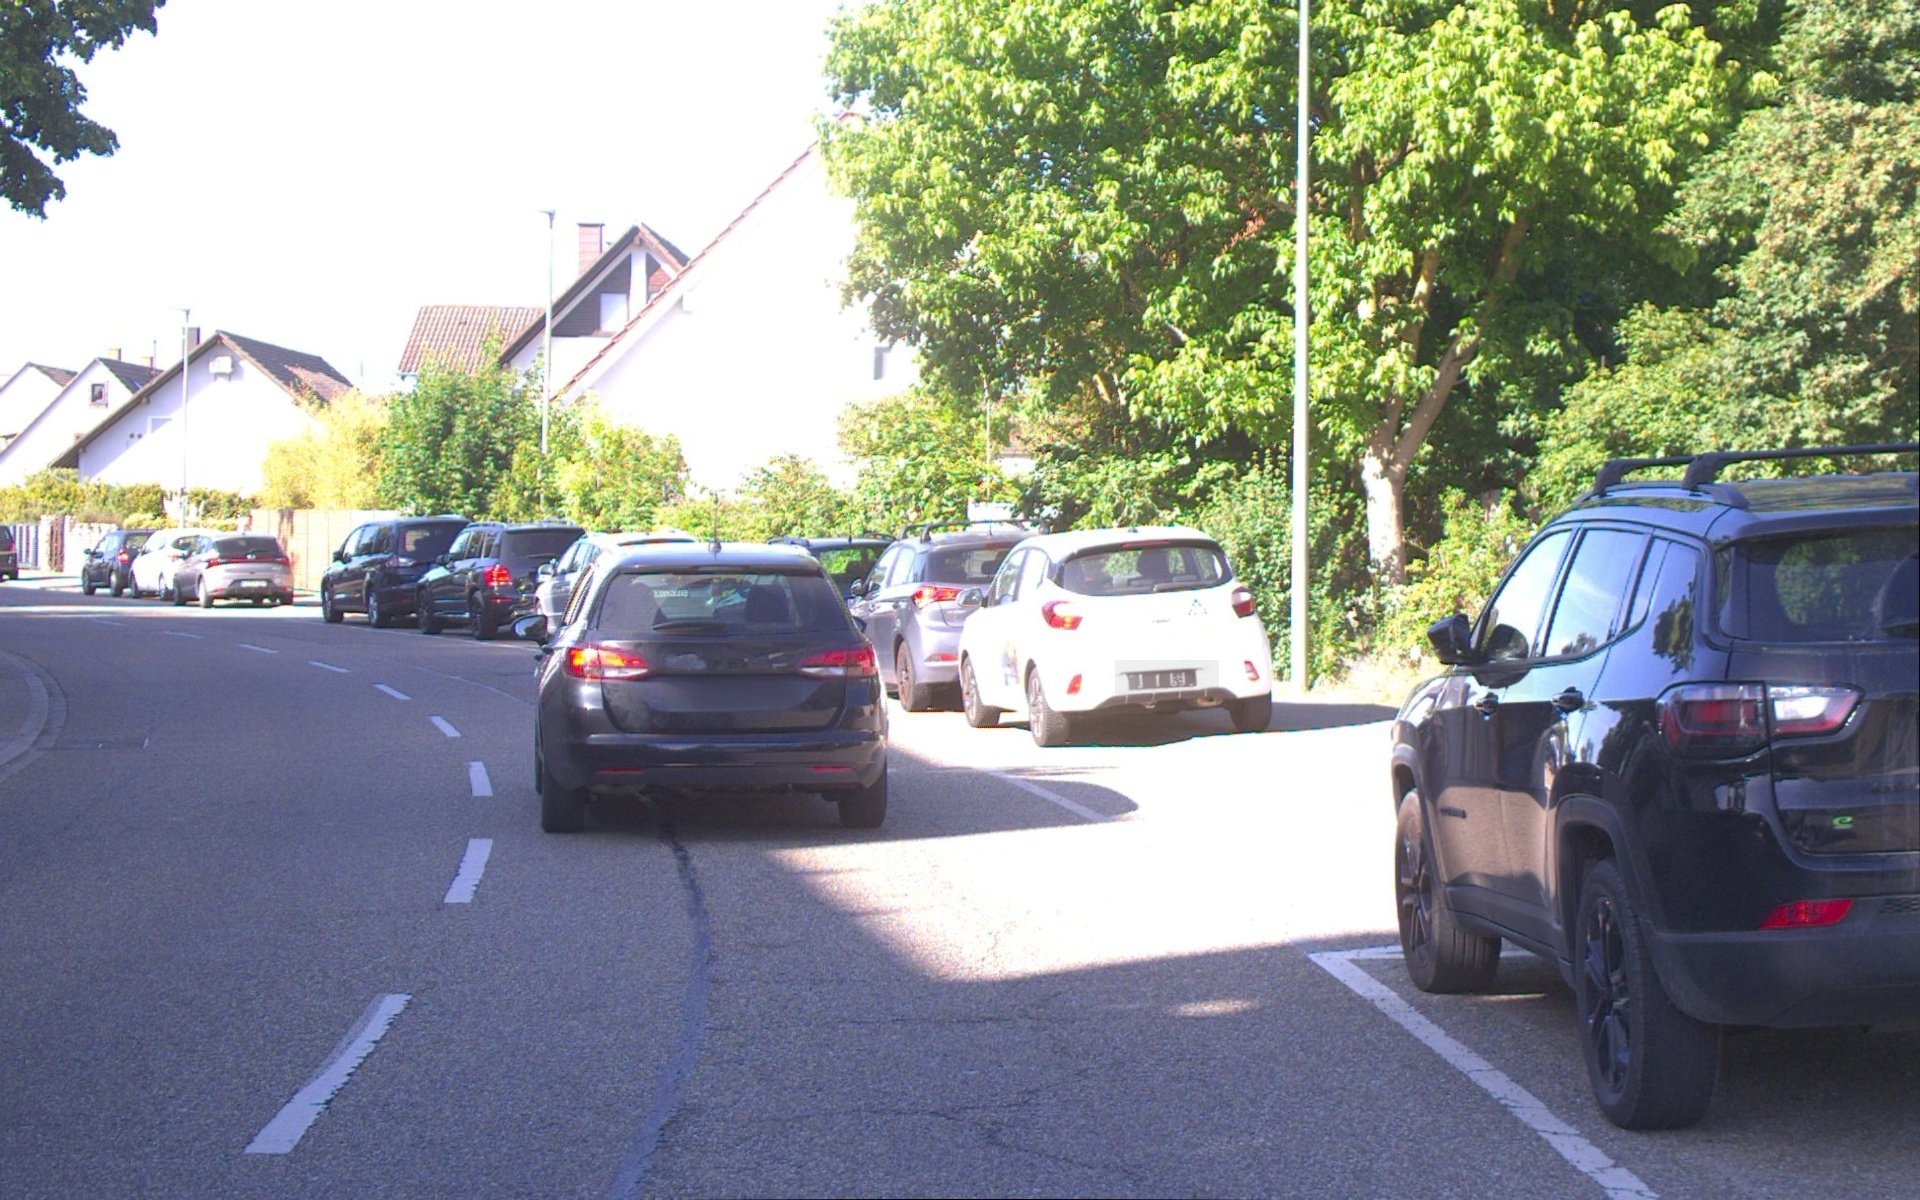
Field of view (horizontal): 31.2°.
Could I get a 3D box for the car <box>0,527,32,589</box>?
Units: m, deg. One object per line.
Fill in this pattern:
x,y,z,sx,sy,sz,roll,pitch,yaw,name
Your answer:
-27.751,-1.201,97.645,2.005,1.718,4.295,0,0,-24,car

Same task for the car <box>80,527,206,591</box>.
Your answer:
-18.560,-0.922,77.964,1.916,1.402,4.295,0,0,-25,car

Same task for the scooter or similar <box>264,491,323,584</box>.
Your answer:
-14.977,-1.382,77.230,0.685,2.007,2.962,1,-1,-23,scooter or similar

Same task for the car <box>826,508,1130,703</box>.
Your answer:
0.073,0.033,30.469,1.911,1.595,4.295,1,0,-10,car

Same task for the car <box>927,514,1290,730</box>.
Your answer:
1.014,0.138,25.880,1.760,1.475,4.295,1,0,-11,car

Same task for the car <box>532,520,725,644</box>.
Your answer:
-4.372,-0.244,44.872,1.819,1.529,4.260,1,0,-15,car

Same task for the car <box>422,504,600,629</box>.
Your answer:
-6.554,-0.482,49.849,2.005,1.718,4.295,1,0,-15,car

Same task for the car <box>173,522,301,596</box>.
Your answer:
-14.275,-0.799,67.687,1.915,1.402,4.295,0,0,-19,car

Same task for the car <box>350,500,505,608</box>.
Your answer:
-8.619,-0.730,55.370,1.902,1.660,4.192,0,0,-17,car

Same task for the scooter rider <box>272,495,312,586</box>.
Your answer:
-15.023,-1.327,77.297,0.685,2.007,0.820,1,-1,-24,scooter rider

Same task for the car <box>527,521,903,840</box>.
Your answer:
-1.430,0.372,18.765,1.761,1.486,4.292,2,0,-7,car

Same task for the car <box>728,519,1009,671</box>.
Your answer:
-1.024,-0.065,35.698,2.005,1.470,4.295,1,0,-14,car

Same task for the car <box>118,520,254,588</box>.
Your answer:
-16.613,-0.979,73.641,1.916,1.402,4.295,0,0,-25,car

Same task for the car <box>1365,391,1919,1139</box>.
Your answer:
2.355,0.371,10.078,1.778,1.718,4.294,1,0,0,car
